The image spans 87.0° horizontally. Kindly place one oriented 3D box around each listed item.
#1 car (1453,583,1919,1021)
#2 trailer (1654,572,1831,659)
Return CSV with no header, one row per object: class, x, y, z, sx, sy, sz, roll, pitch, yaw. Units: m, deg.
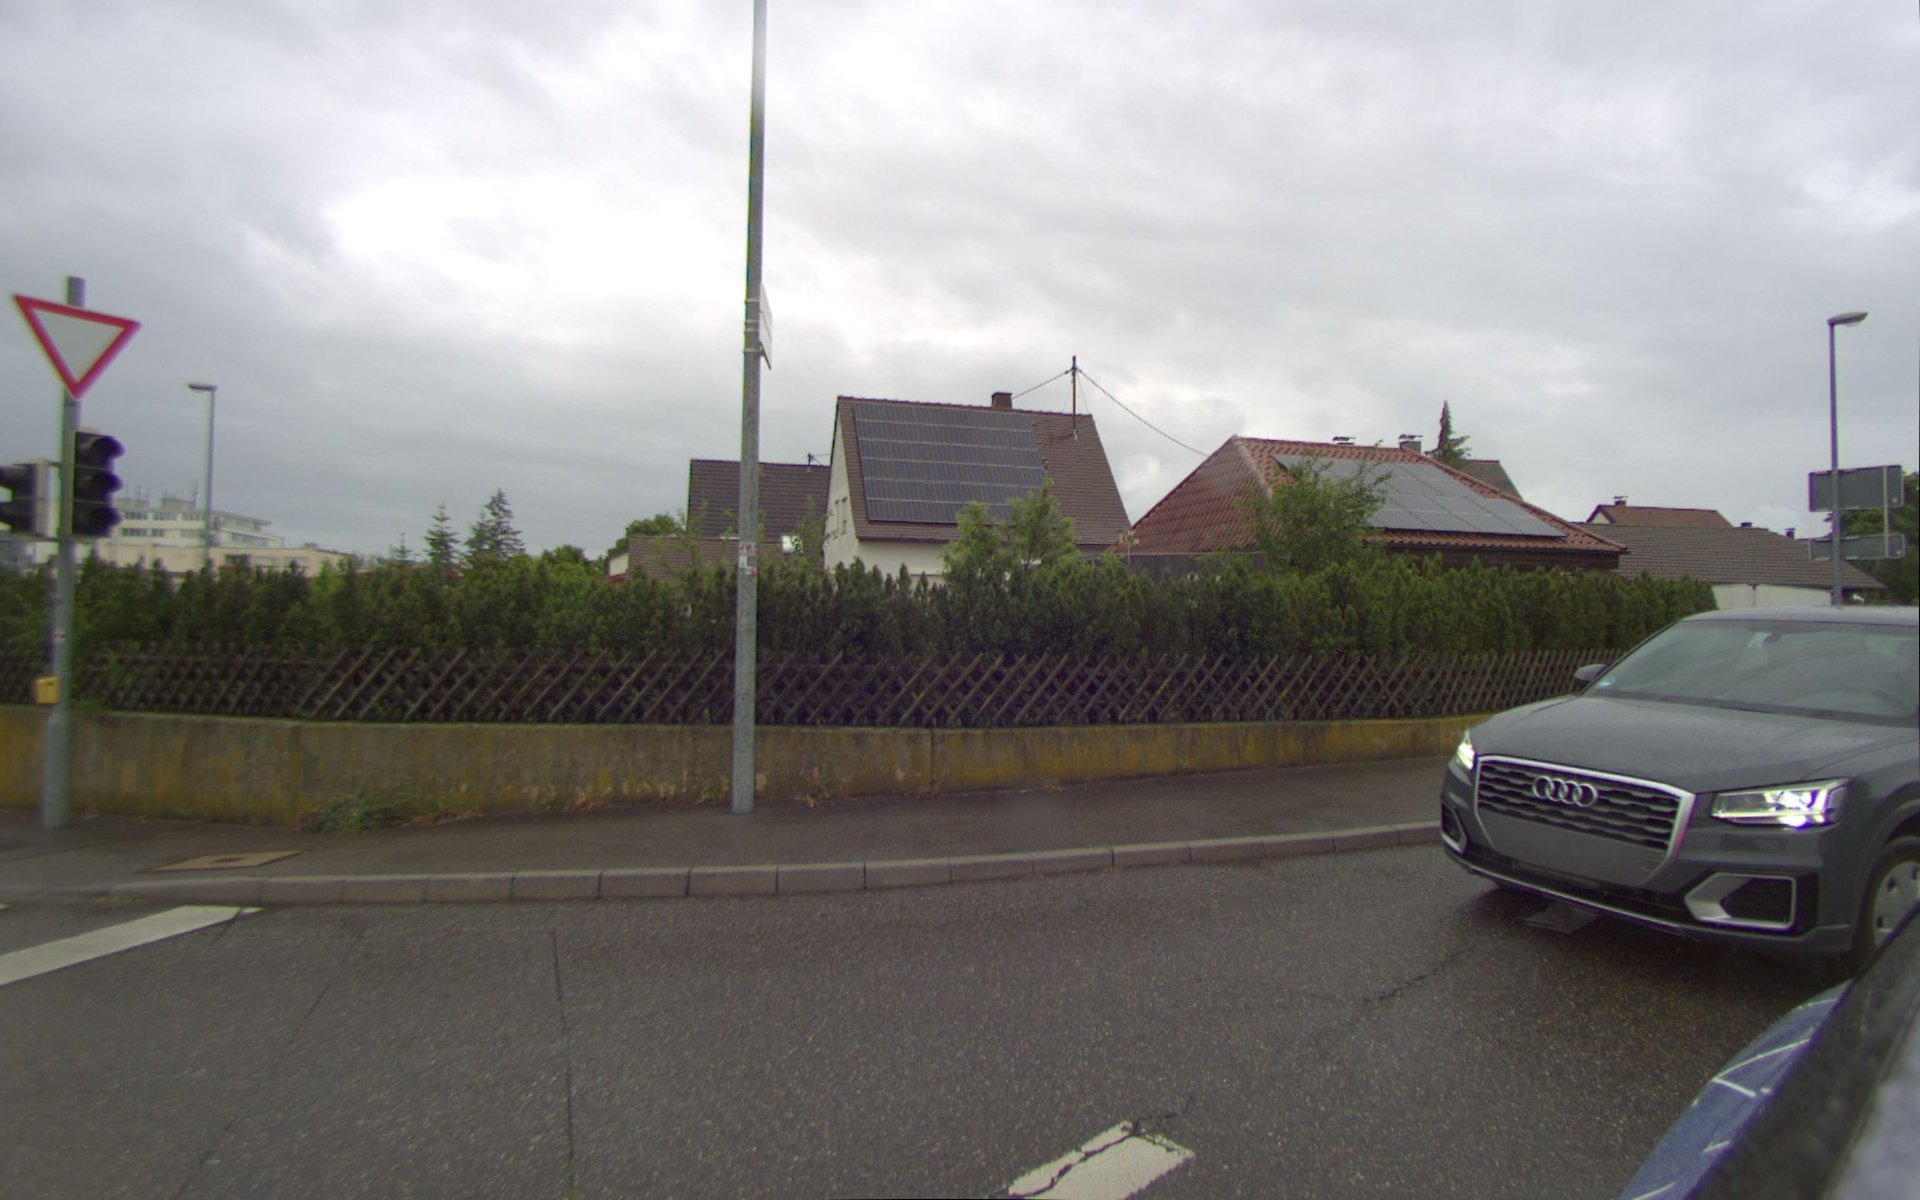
car,4.562,0.708,5.113,3.858,1.514,1.691,0,-1,-26
trailer,23.771,0.472,30.785,4.605,2.550,1.652,0,-2,-13
